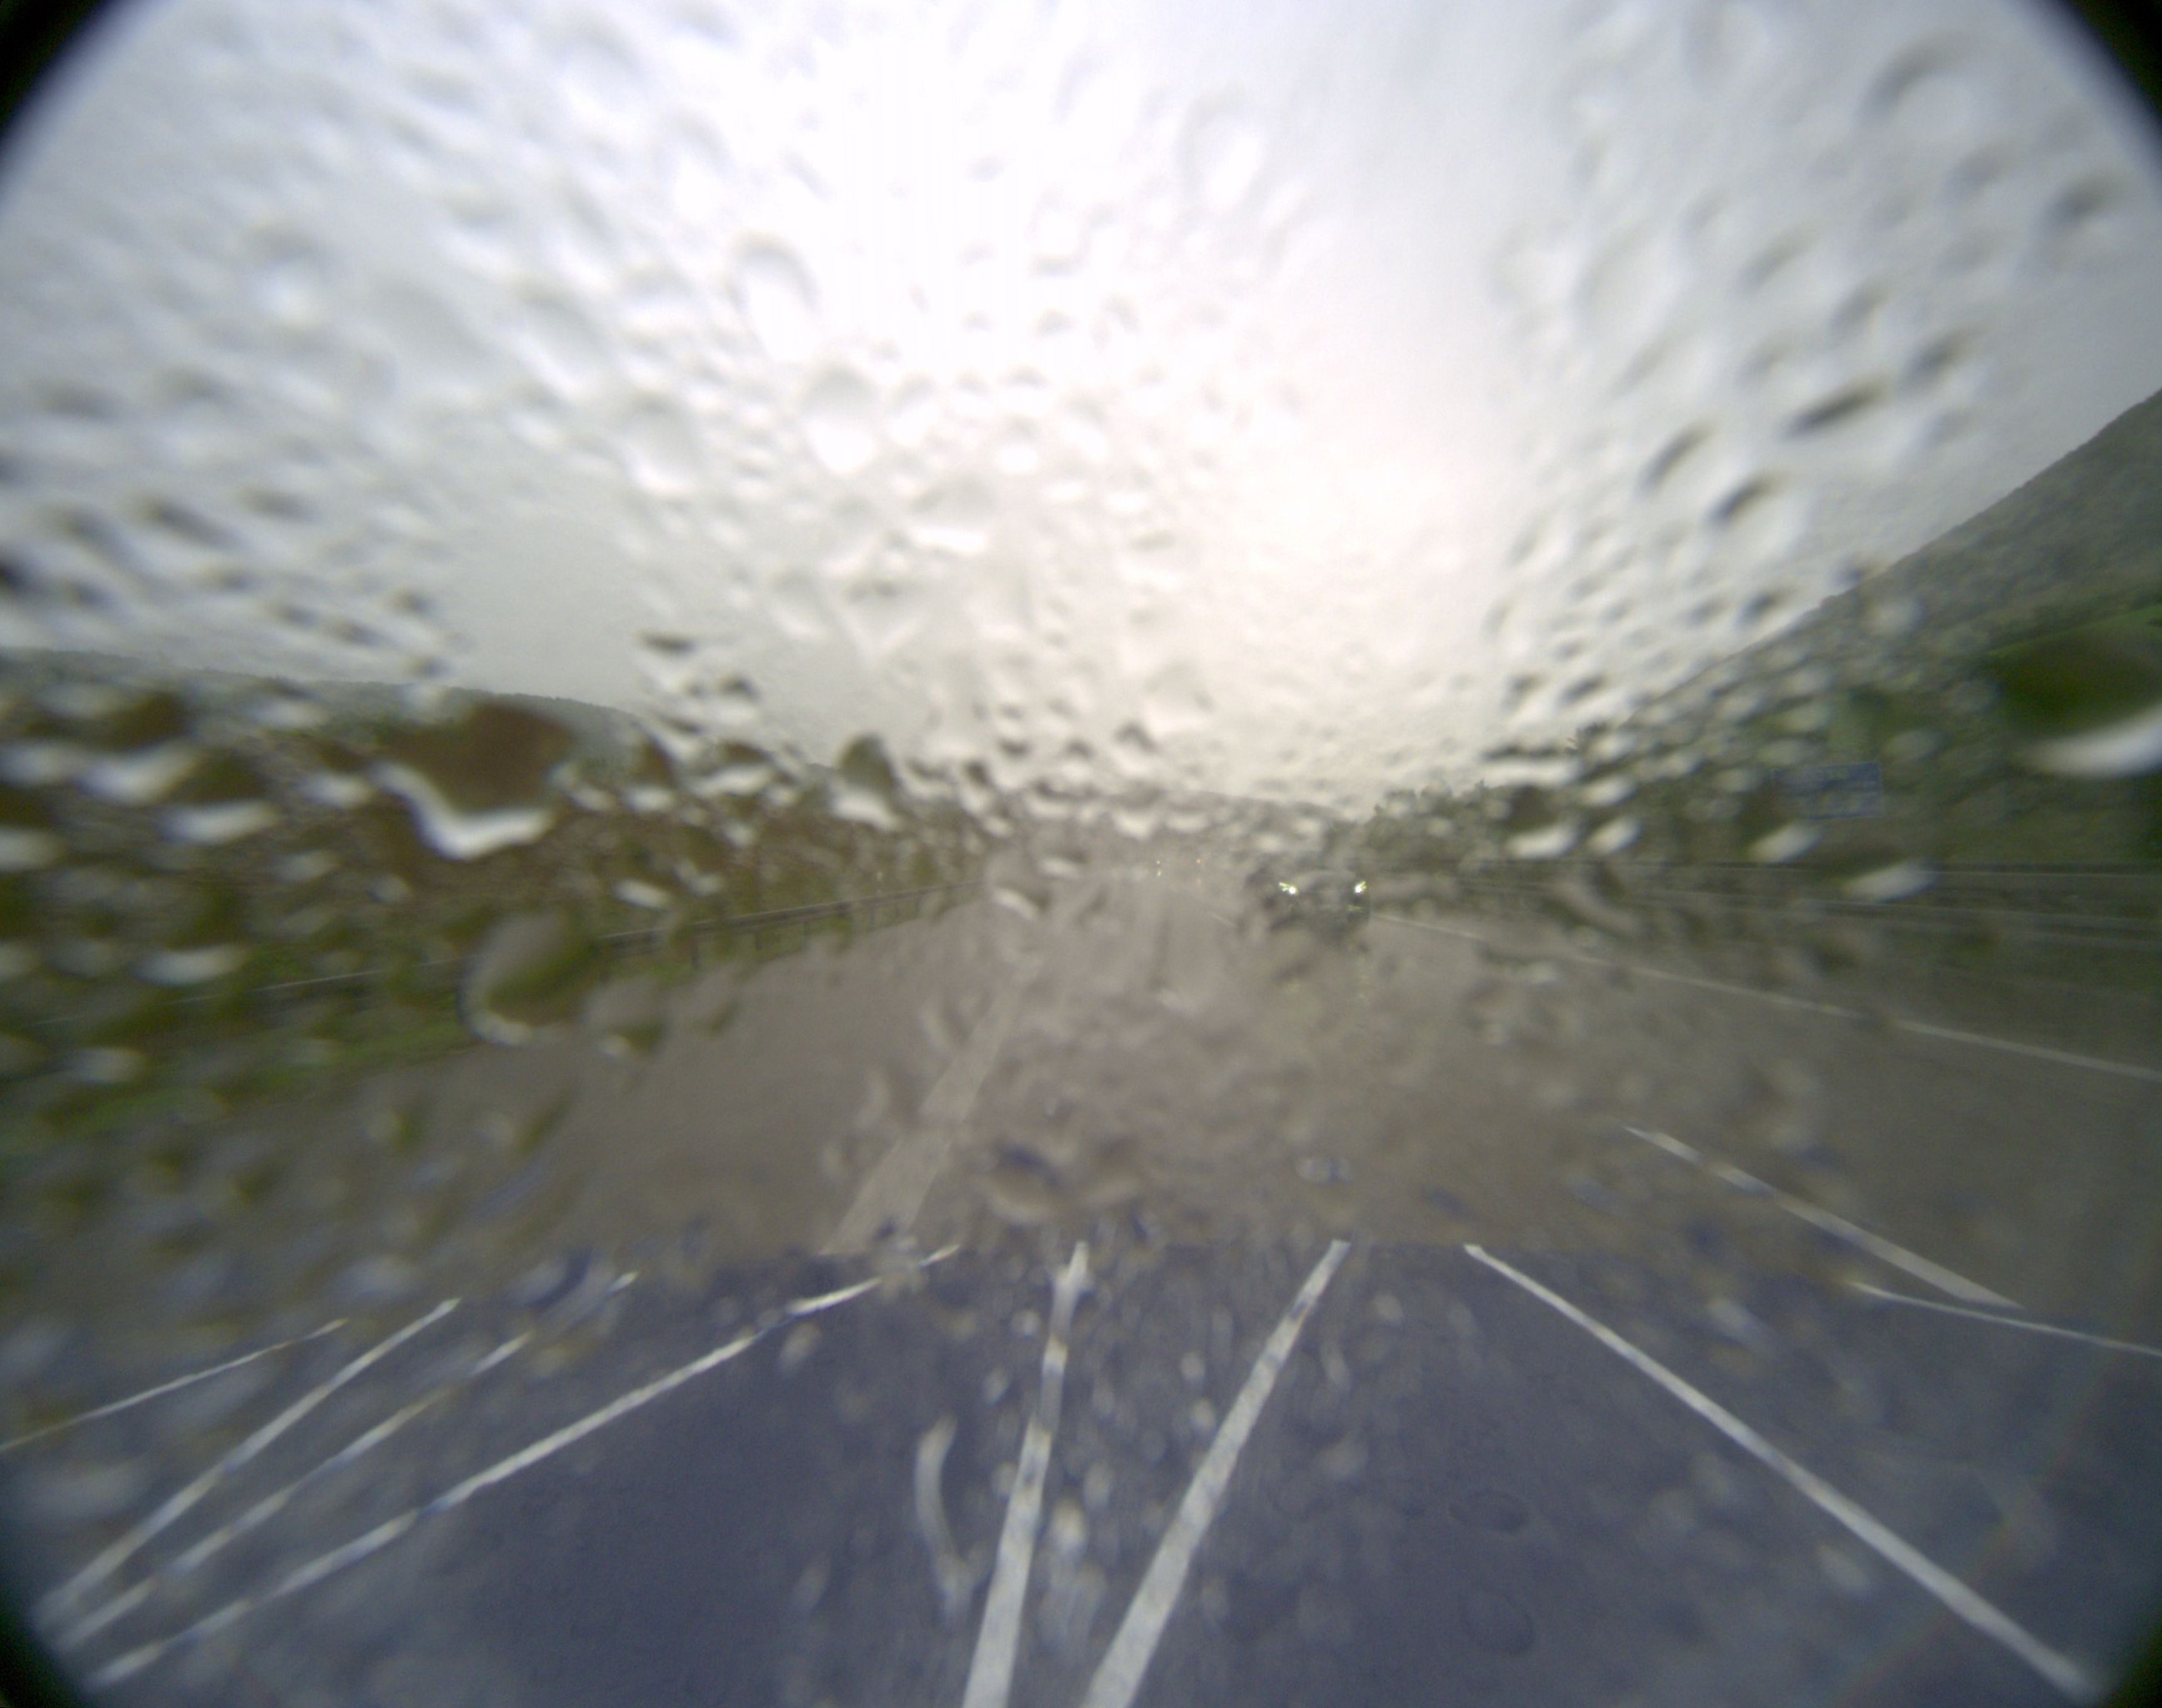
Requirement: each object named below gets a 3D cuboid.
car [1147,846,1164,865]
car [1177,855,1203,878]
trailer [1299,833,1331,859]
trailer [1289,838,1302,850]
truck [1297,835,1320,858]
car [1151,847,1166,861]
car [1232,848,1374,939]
[{"bbox_3d":[8.937,0.174,91.042,1.835,2.002,3.939,-4,1,5],"label":"car"},{"bbox_3d":[9.981,1.118,69.679,1.987,2.002,3.934,-2,0,3],"label":"car"},{"bbox_3d":[37.098,-1.267,120.776,2.938,3.880,12.575,-1,0,9],"label":"trailer"},{"bbox_3d":[63.787,-3.078,225.812,2.724,3.471,9.402,-2,1,11],"label":"trailer"},{"bbox_3d":[38.083,-1.291,127.178,2.889,3.780,5.319,-1,1,9],"label":"truck"},{"bbox_3d":[11.508,0.063,113.239,1.998,2.002,4.001,-2,0,3],"label":"car"},{"bbox_3d":[4.705,0.755,16.685,1.815,1.692,3.747,-2,1,-3],"label":"car"}]
